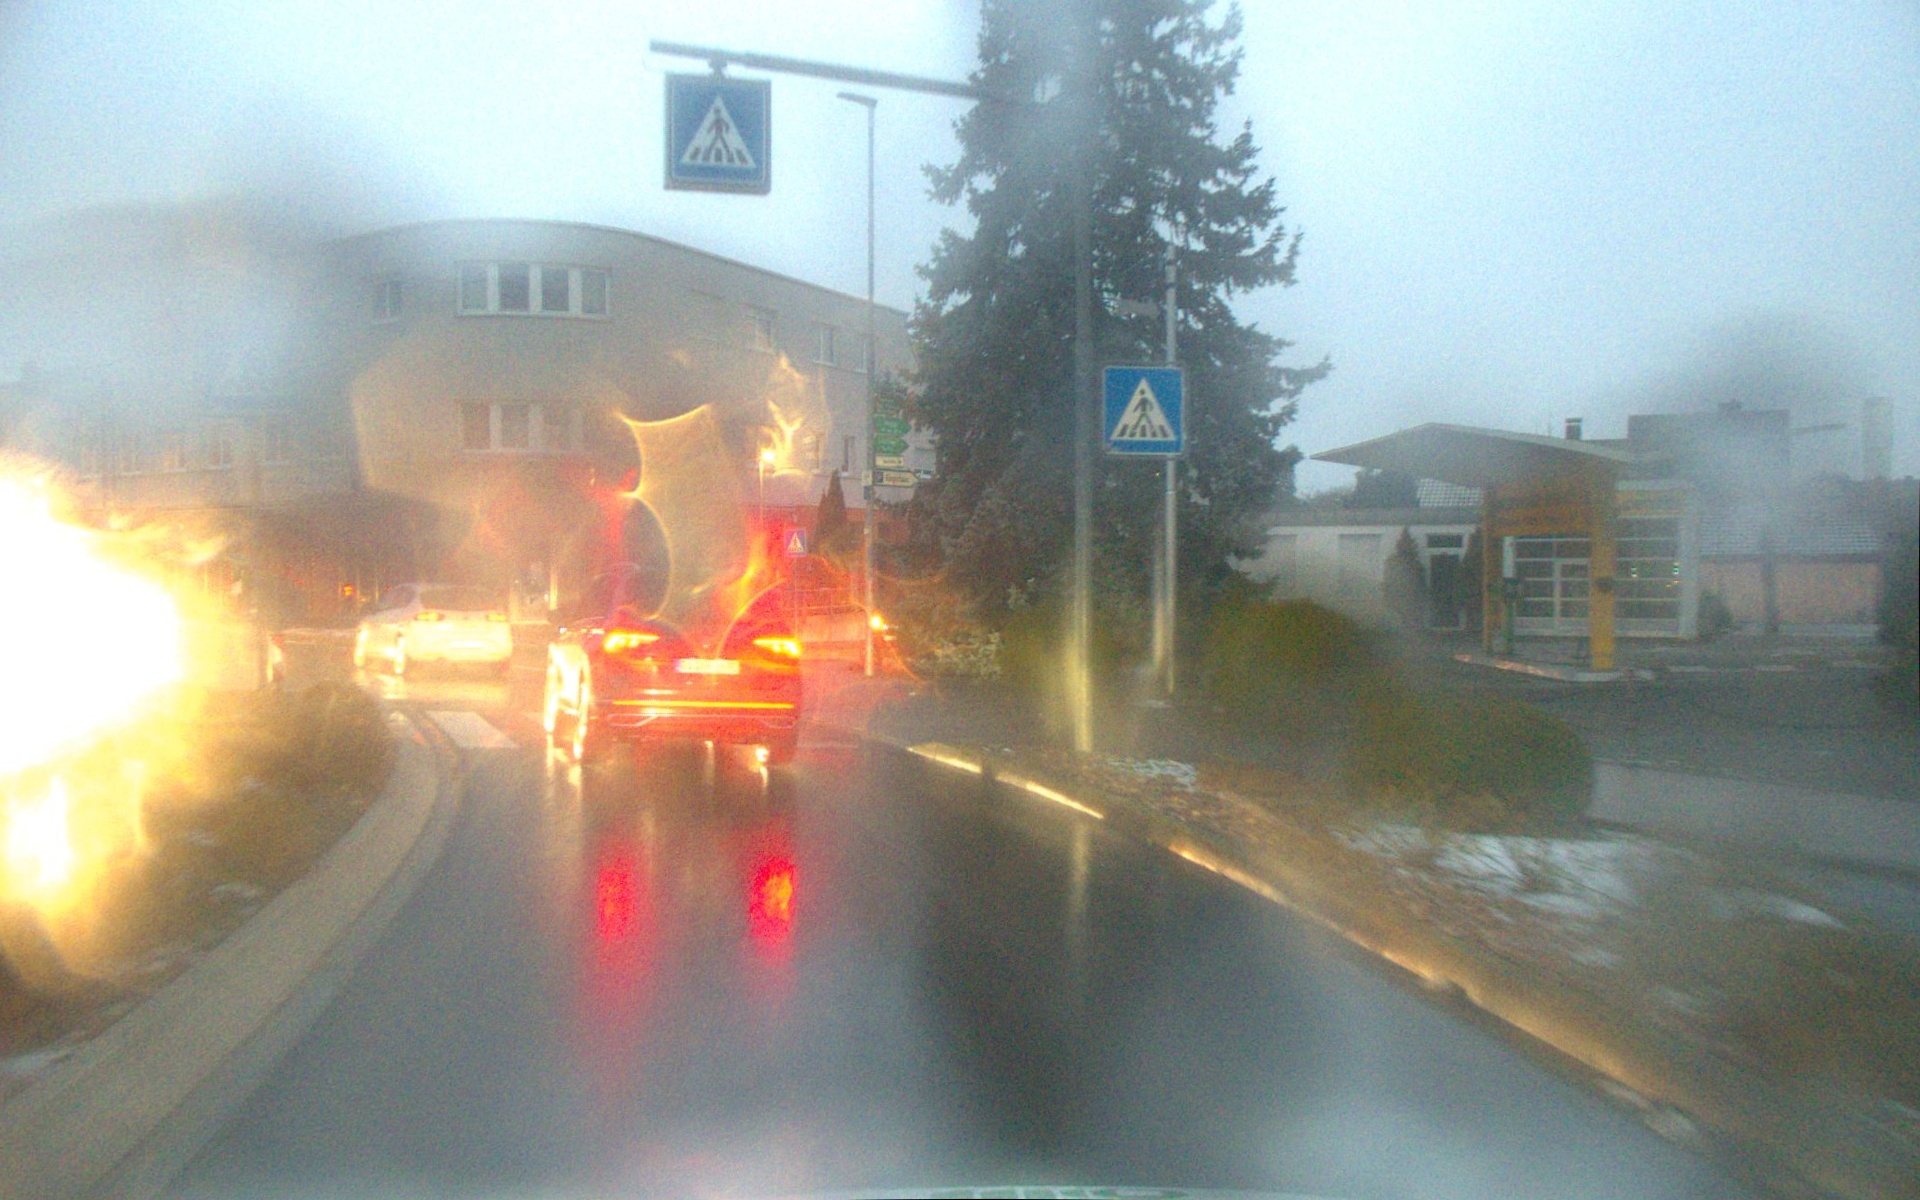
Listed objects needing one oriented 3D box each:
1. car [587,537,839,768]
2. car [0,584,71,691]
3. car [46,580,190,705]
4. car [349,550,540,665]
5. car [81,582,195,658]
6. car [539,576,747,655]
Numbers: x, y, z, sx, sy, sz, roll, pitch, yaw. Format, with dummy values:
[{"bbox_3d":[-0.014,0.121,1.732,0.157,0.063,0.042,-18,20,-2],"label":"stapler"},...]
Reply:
[{"bbox_3d":[-2.273,0.343,14.680,1.910,1.748,3.989,0,1,-11],"label":"car"},{"bbox_3d":[-20.643,0.745,35.997,2.141,2.096,4.526,-1,2,-30],"label":"car"},{"bbox_3d":[-16.167,0.723,31.634,2.142,2.096,4.523,-1,2,-31],"label":"car"},{"bbox_3d":[-8.669,0.046,27.560,2.140,1.718,4.526,0,2,-30],"label":"car"},{"bbox_3d":[-21.386,0.468,42.942,2.046,1.746,4.517,-1,2,-34],"label":"car"},{"bbox_3d":[-6.998,0.298,36.915,1.870,1.599,4.555,2,2,35],"label":"car"}]
